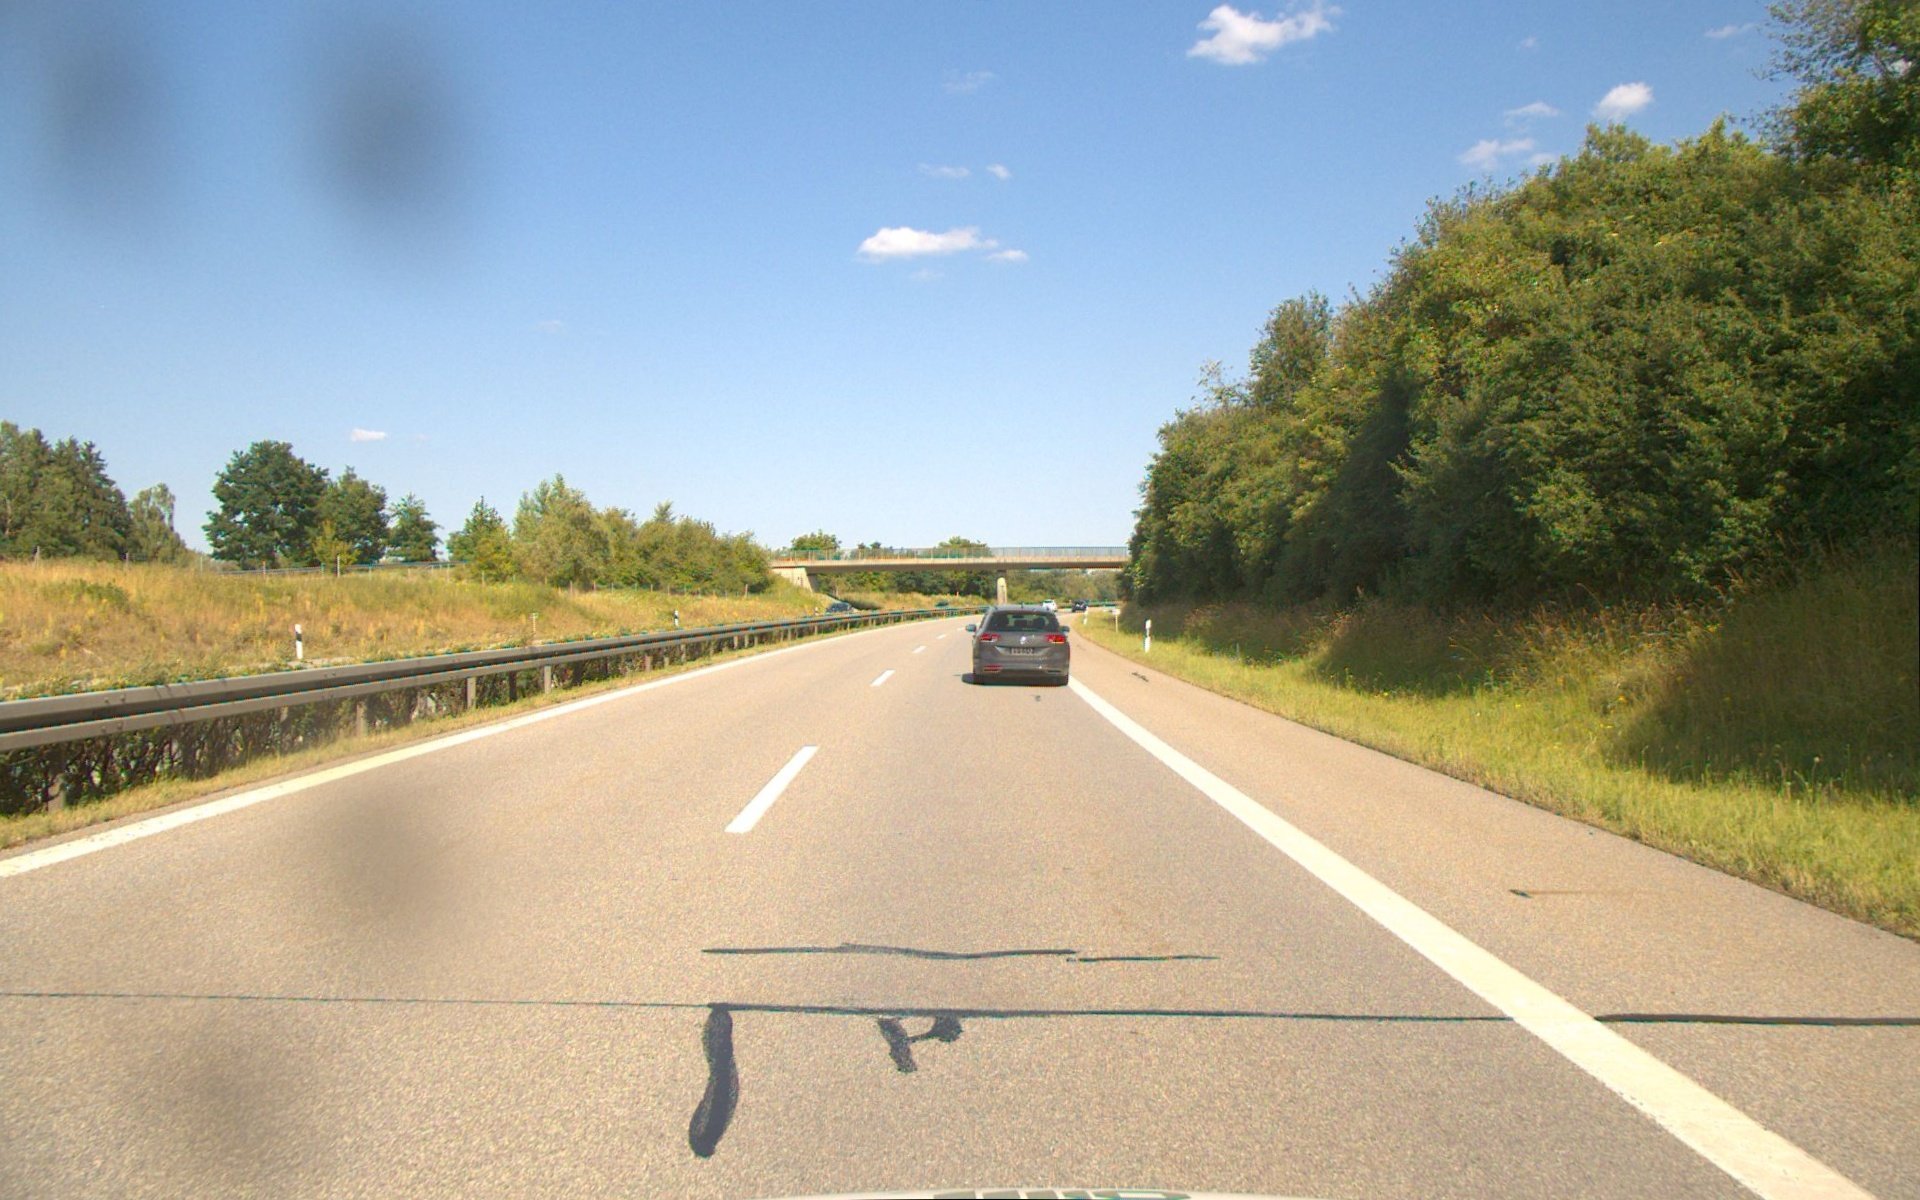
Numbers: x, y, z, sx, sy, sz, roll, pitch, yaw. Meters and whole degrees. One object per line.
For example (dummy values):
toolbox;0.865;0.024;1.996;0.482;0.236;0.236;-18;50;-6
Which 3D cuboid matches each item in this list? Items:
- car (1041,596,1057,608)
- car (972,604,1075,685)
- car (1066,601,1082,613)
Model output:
car;11.360;0.242;210.726;1.965;1.368;4.000;2;-2;2
car;1.156;0.786;30.950;1.754;1.368;4.001;2;0;1
car;14.580;0.932;211.637;1.675;1.411;3.354;2;-2;0
